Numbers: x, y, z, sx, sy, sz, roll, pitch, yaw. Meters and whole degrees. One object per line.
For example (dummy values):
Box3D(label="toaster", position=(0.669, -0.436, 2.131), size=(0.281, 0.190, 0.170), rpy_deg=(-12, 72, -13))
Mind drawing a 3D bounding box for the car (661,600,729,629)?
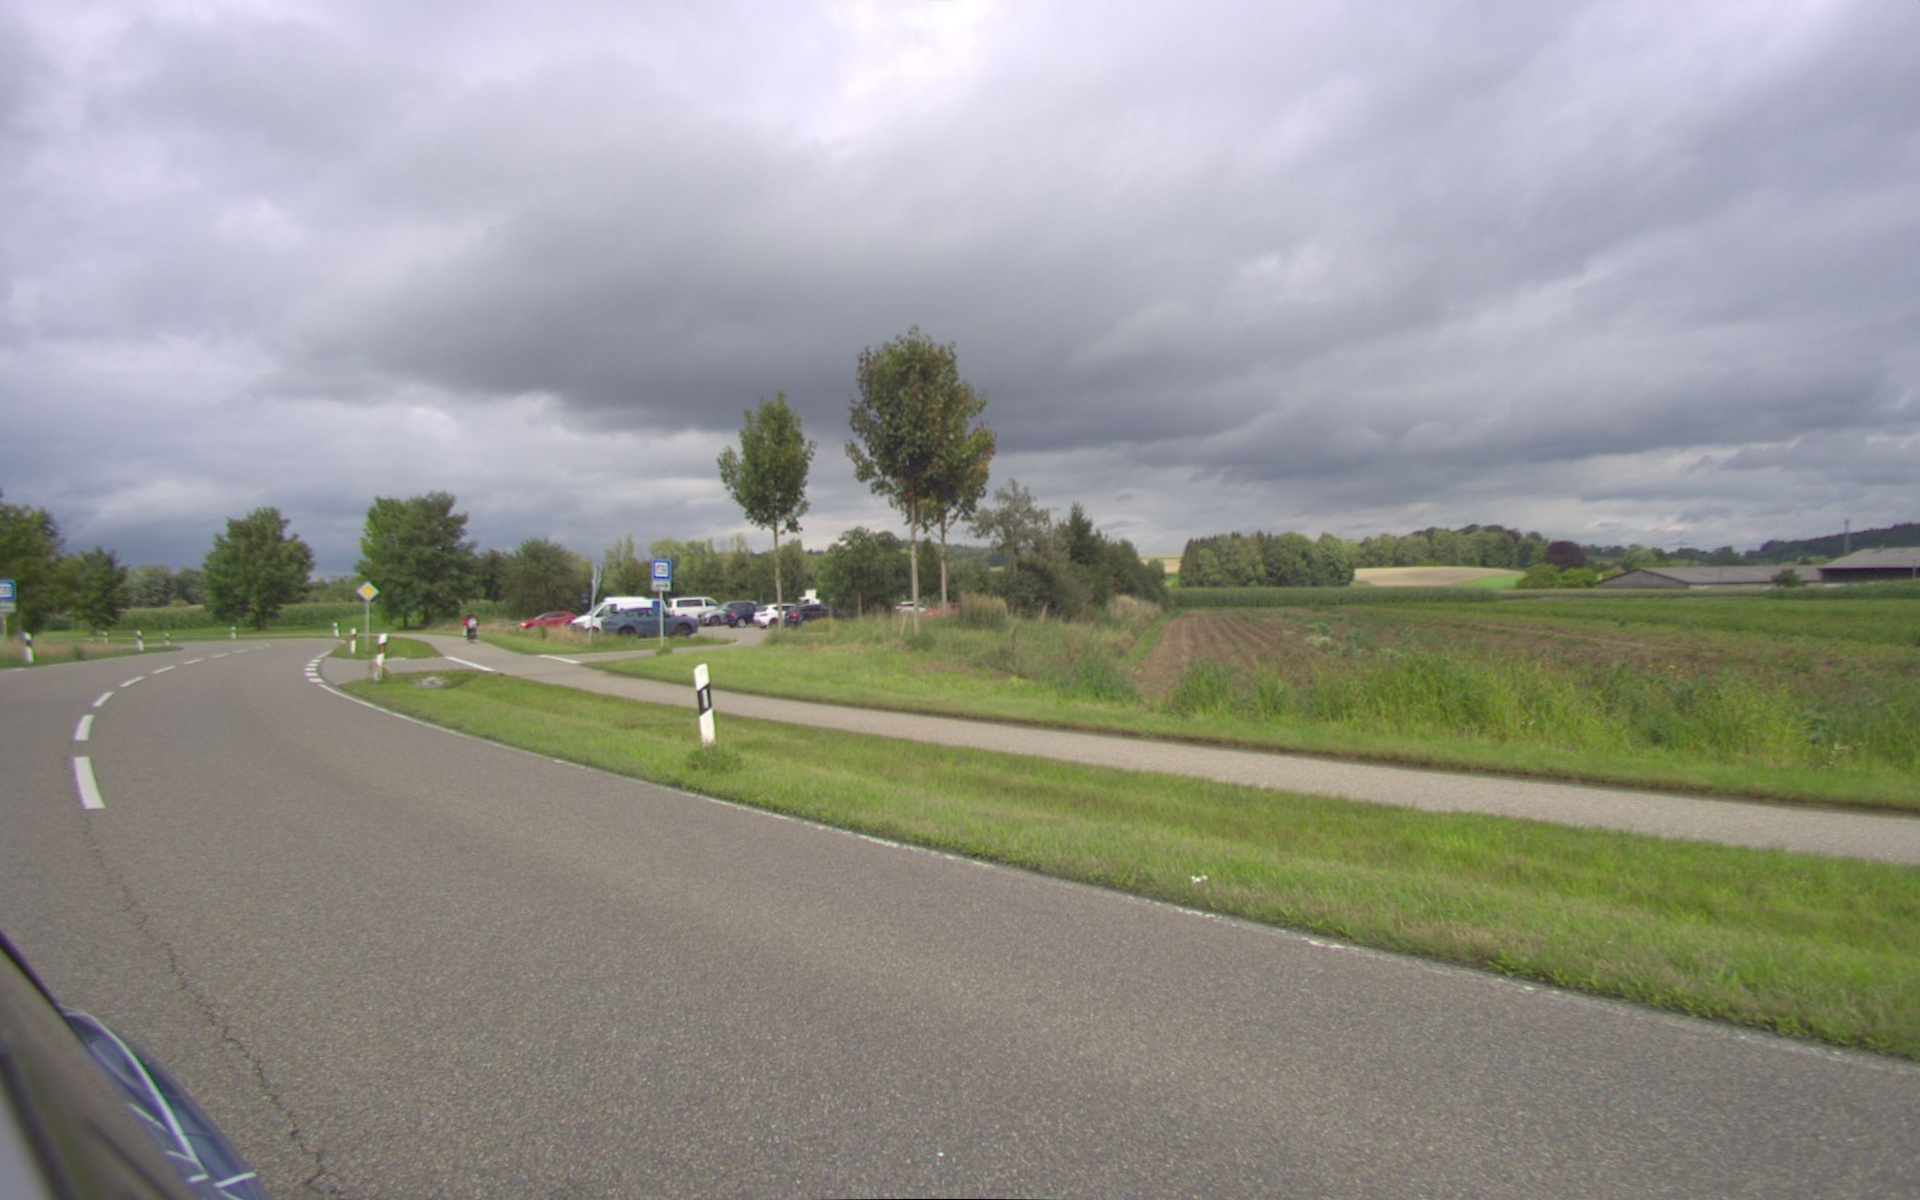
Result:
Box3D(label="car", position=(-20.487, 1.134, 78.232), size=(4.618, 1.940, 2.067), rpy_deg=(-3, 1, -32))

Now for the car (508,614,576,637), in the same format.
Box3D(label="car", position=(-30.070, 1.823, 72.878), size=(4.304, 1.427, 1.819), rpy_deg=(-2, 0, -31))

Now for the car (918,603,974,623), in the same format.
Box3D(label="car", position=(-1.076, 0.999, 78.090), size=(3.931, 1.398, 1.744), rpy_deg=(-1, -1, -29))

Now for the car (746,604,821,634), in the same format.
Box3D(label="car", position=(-10.580, 1.156, 60.917), size=(3.936, 1.563, 1.970), rpy_deg=(-3, 1, -38))

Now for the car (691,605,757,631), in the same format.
Box3D(label="car", position=(-16.200, 1.230, 69.395), size=(3.932, 1.563, 1.971), rpy_deg=(-3, 1, -31))

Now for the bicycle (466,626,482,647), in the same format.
Box3D(label="bicycle", position=(-25.023, 1.878, 52.098), size=(0.627, 1.040, 2.197), rpy_deg=(-1, 0, -29))

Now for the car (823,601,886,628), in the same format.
Box3D(label="car", position=(-6.679, 0.894, 64.231), size=(3.741, 1.537, 1.776), rpy_deg=(-2, 0, 1))

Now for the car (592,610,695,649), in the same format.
Box3D(label="car", position=(-14.734, 1.352, 47.183), size=(4.189, 1.607, 2.006), rpy_deg=(-2, 0, -31))

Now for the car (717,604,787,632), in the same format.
Box3D(label="car", position=(-13.386, 1.165, 65.151), size=(3.932, 1.563, 1.971), rpy_deg=(-3, 1, -31))

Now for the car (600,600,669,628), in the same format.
Box3D(label="car", position=(-32.795, 1.387, 101.881), size=(6.228, 2.639, 2.207), rpy_deg=(-2, 0, -31))

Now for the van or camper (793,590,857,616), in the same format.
Box3D(label="van or camper", position=(-13.669, 0.281, 102.801), size=(5.946, 2.364, 2.293), rpy_deg=(-3, 1, -28))

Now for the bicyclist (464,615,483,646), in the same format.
Box3D(label="bicyclist", position=(-25.068, 1.567, 52.169), size=(0.819, 1.577, 1.059), rpy_deg=(-1, 0, -27))

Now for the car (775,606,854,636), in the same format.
Box3D(label="car", position=(-8.113, 1.162, 56.657), size=(3.936, 1.398, 1.846), rpy_deg=(-3, 1, -38))

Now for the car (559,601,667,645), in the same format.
Box3D(label="car", position=(-17.563, 1.126, 51.303), size=(4.827, 2.029, 2.062), rpy_deg=(-2, 0, -32))
